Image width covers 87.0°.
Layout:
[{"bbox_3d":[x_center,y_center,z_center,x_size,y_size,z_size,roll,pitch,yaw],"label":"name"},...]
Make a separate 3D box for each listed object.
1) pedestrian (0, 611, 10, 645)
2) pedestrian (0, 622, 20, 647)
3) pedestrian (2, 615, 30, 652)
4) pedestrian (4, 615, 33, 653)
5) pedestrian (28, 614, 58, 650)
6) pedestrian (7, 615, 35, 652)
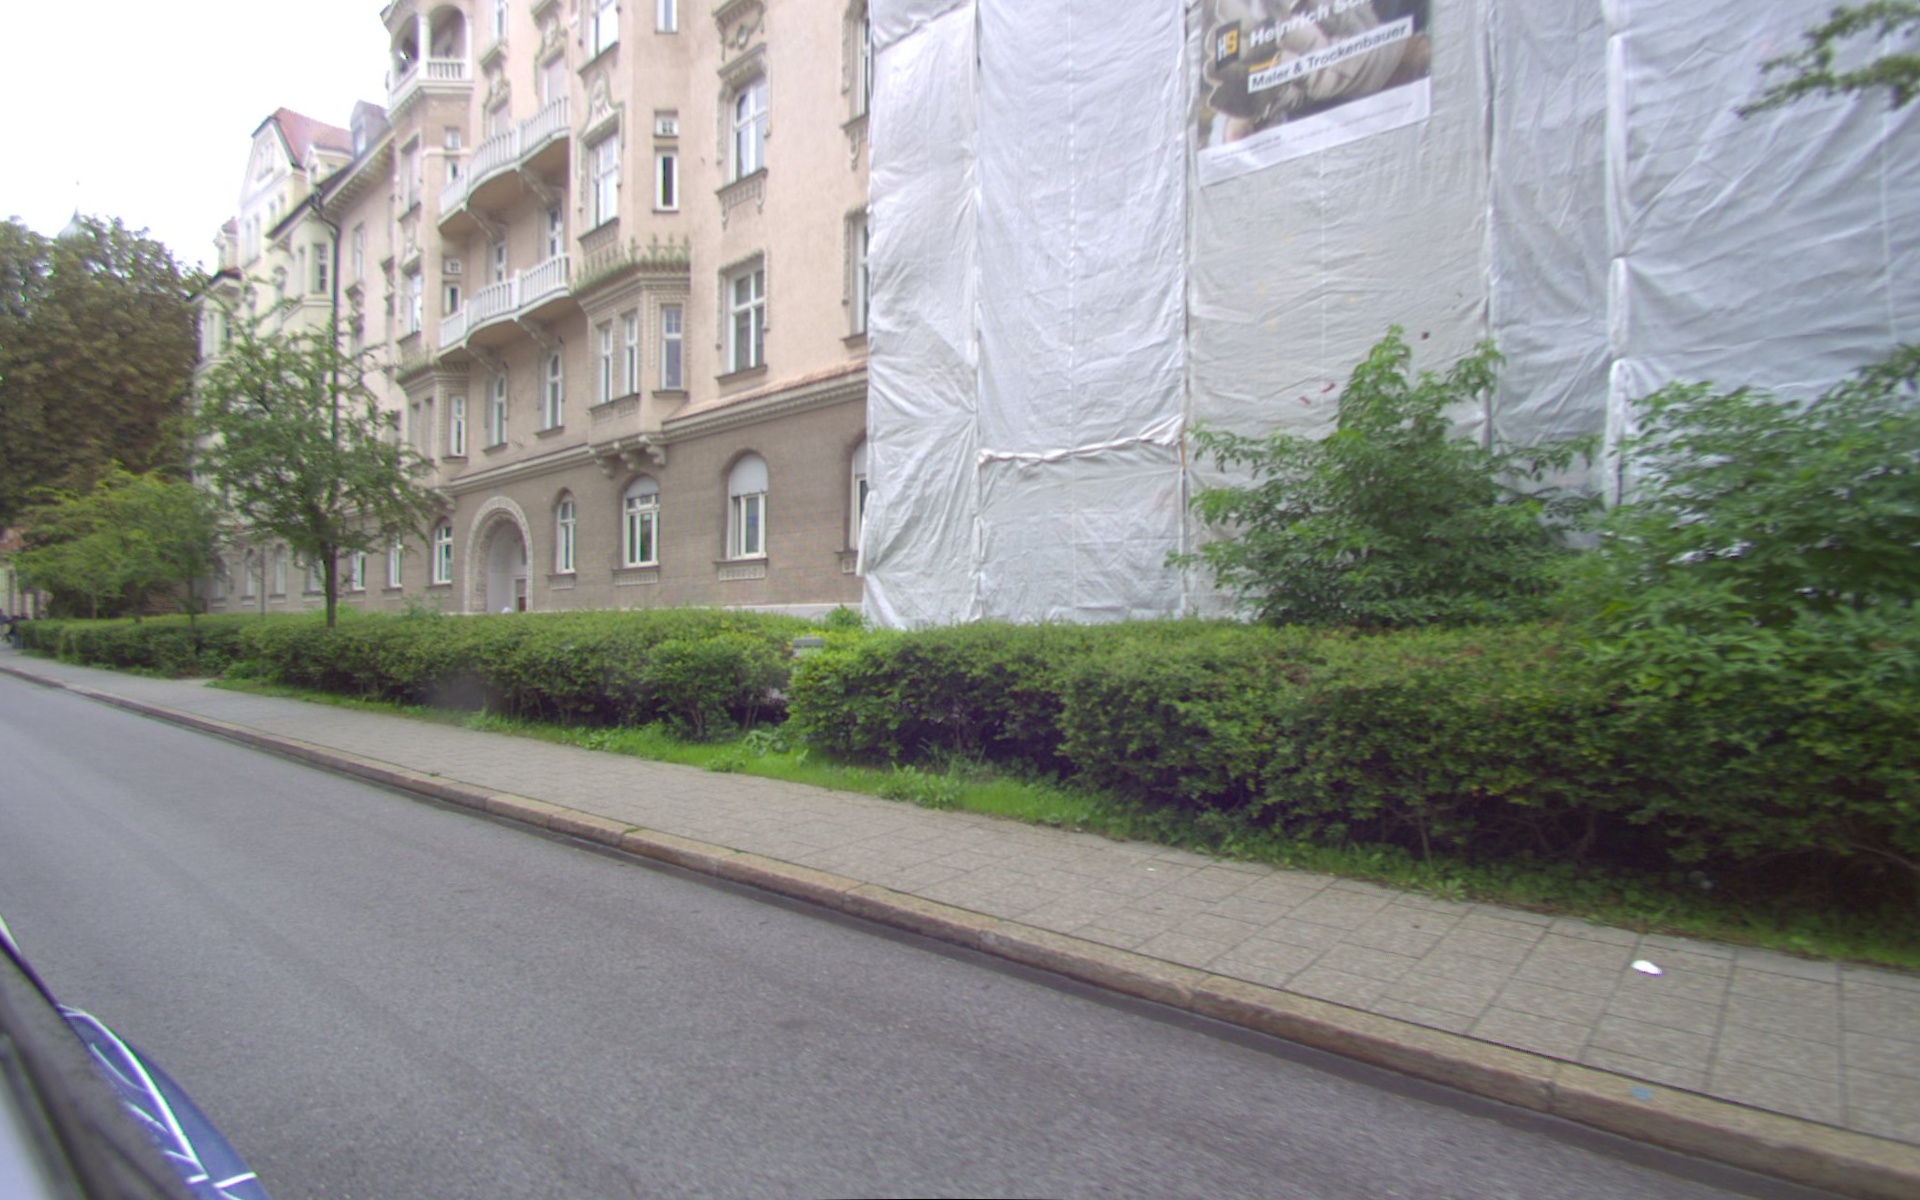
[{"bbox_3d":[-57.387,1.660,60.289,0.769,2.029,0.831,0,-1,-2],"label":"pedestrian"},{"bbox_3d":[-51.710,1.891,55.001,0.753,1.351,0.820,-1,-2,39],"label":"pedestrian"},{"bbox_3d":[-45.559,1.610,48.854,0.910,1.758,0.864,-1,-2,41],"label":"pedestrian"},{"bbox_3d":[-44.304,1.597,47.631,0.846,1.758,0.898,-1,-2,41],"label":"pedestrian"},{"bbox_3d":[-45.024,1.581,49.680,0.773,1.758,0.878,0,-2,-17],"label":"pedestrian"},{"bbox_3d":[-44.843,1.594,48.323,0.786,1.758,0.864,-1,-2,41],"label":"pedestrian"}]
